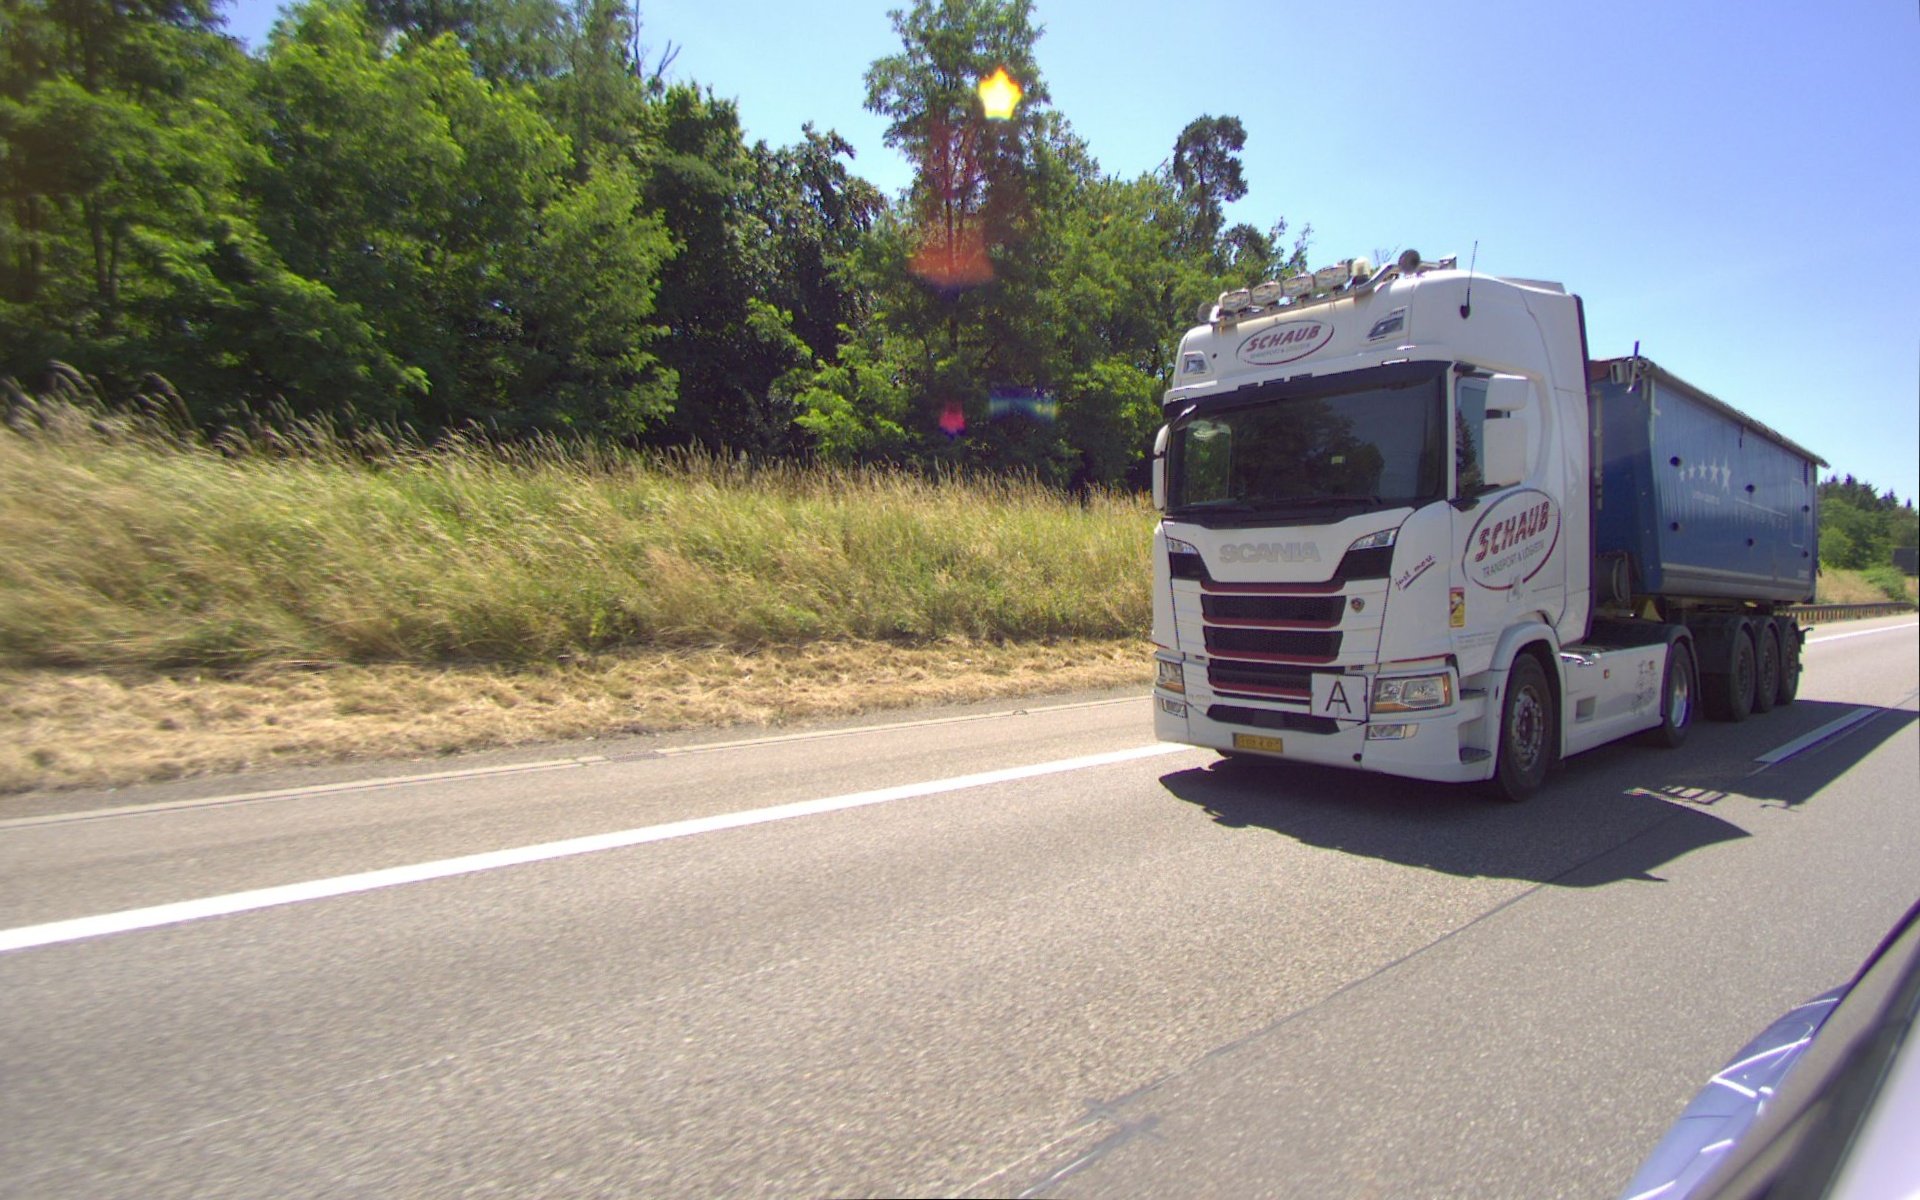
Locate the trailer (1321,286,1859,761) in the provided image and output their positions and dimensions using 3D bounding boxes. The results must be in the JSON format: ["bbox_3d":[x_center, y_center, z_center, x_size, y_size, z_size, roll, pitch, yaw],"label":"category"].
[{"bbox_3d":[7.975,-0.627,12.043,8.946,3.806,2.743,0,1,-40],"label":"trailer"}]

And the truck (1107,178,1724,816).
[{"bbox_3d":[4.286,-0.633,8.956,5.838,3.806,2.690,0,0,-40],"label":"truck"}]
